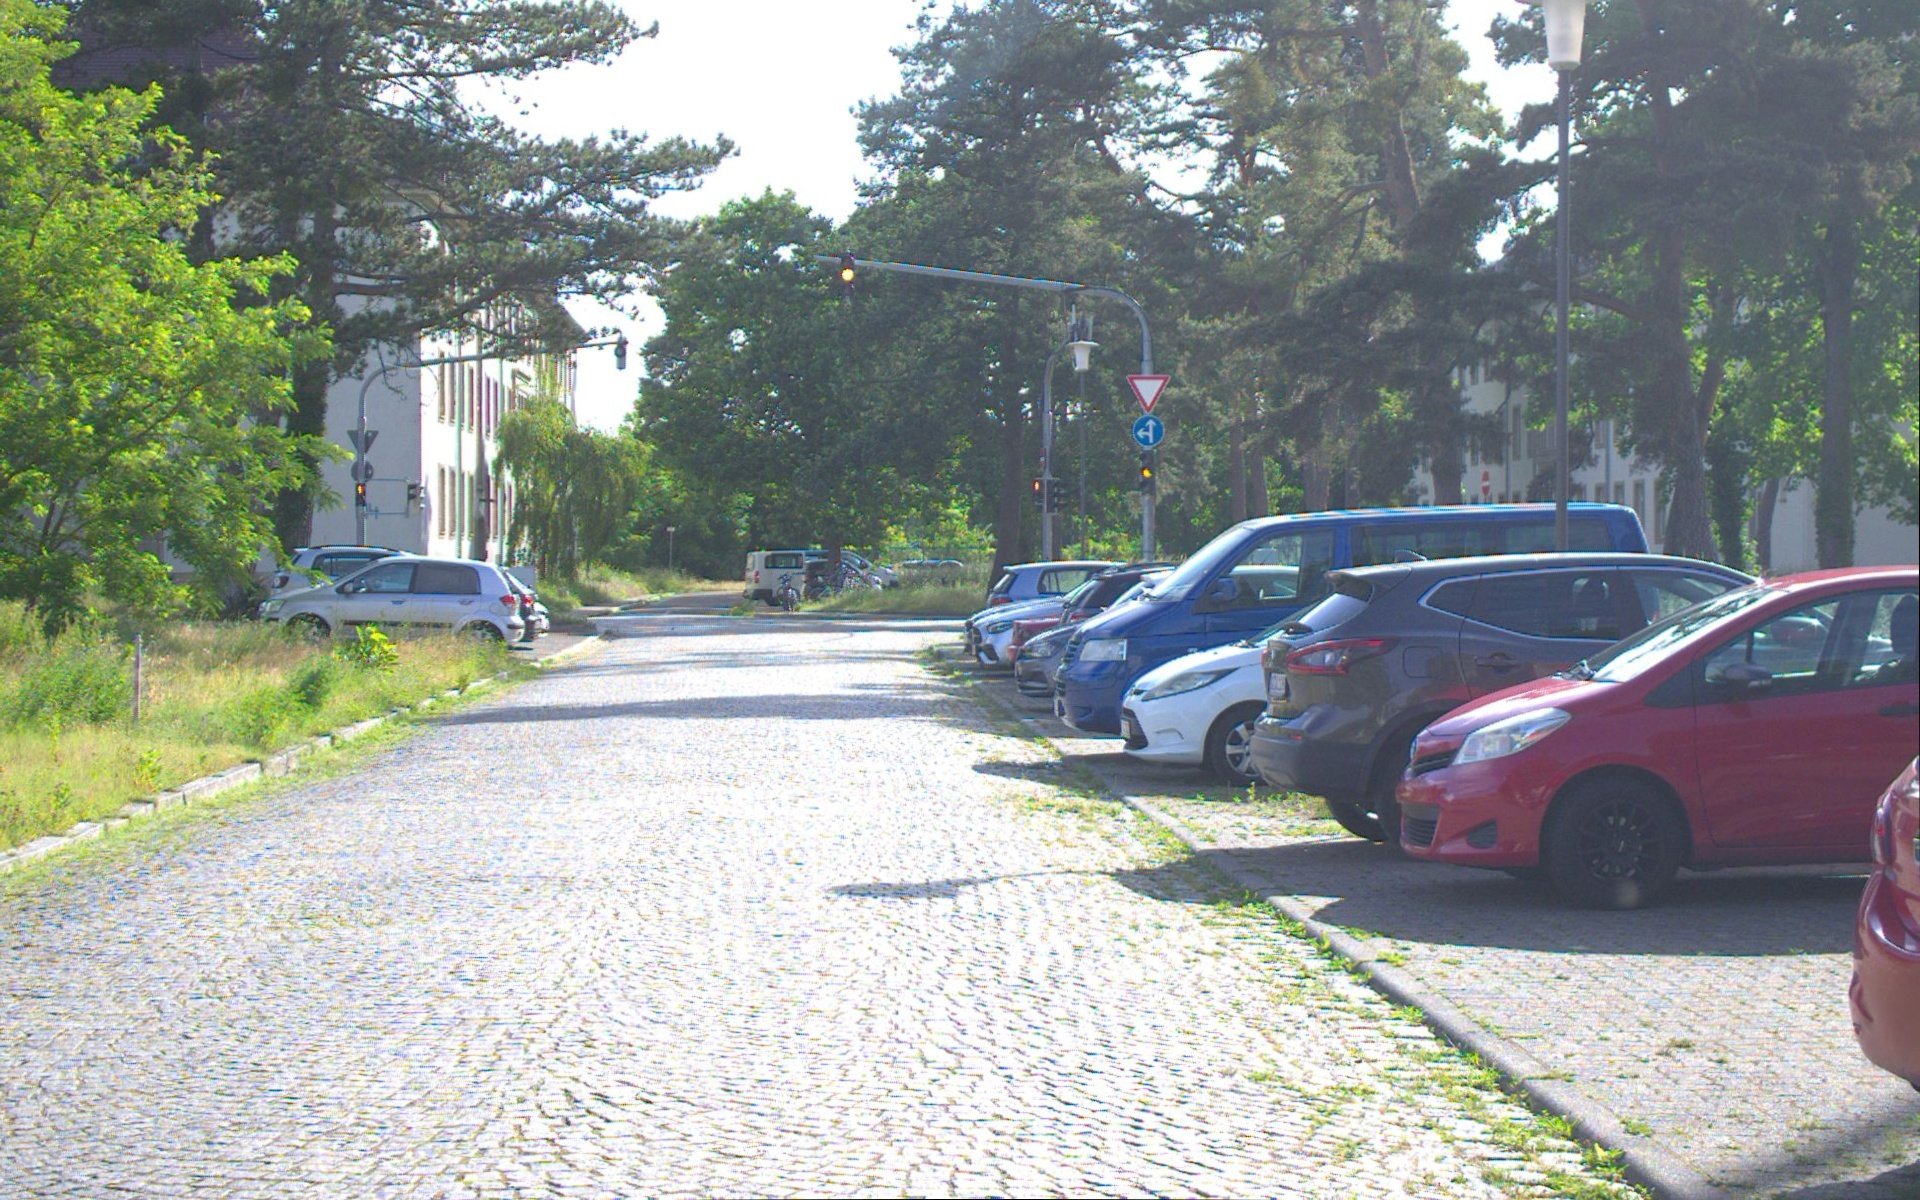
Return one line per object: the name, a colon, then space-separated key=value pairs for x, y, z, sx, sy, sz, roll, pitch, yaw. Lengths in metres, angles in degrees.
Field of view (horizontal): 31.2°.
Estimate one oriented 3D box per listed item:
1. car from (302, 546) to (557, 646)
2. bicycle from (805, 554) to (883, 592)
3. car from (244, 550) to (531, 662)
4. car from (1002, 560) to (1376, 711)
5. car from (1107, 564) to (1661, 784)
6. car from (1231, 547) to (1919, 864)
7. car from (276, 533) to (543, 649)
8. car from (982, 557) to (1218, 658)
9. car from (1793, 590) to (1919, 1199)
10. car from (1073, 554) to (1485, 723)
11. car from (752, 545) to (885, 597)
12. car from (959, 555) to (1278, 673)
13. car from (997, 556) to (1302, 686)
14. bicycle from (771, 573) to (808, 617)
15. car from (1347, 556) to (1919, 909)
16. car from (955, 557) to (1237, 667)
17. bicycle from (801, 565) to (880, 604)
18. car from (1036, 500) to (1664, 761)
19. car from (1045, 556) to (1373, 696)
car: x=-8.878 y=-0.084 z=57.803 sx=3.986 sy=1.448 sz=2.000 roll=3 pitch=1 yaw=-3
bicycle: x=-3.424 y=-0.793 z=101.141 sx=2.172 sy=1.096 sz=0.807 roll=1 pitch=1 yaw=-12
car: x=-8.283 y=0.069 z=50.030 sx=3.986 sy=1.595 sz=2.000 roll=0 pitch=1 yaw=-5
car: x=2.337 y=0.349 z=35.655 sx=3.674 sy=1.462 sz=1.646 roll=-1 pitch=1 yaw=-4
car: x=3.019 y=0.508 z=24.930 sx=3.718 sy=1.483 sz=1.646 roll=-1 pitch=1 yaw=-5
car: x=3.542 y=0.526 z=18.525 sx=3.935 sy=1.616 sz=1.772 roll=0 pitch=1 yaw=-4
car: x=-8.829 y=-0.151 z=55.401 sx=3.986 sy=1.596 sz=2.000 roll=3 pitch=1 yaw=-3
car: x=2.064 y=0.096 z=51.219 sx=3.343 sy=1.477 sz=1.646 roll=0 pitch=1 yaw=-4
car: x=4.140 y=0.703 z=8.272 sx=3.826 sy=1.473 sz=1.646 roll=-1 pitch=1 yaw=-3
car: x=2.996 y=0.343 z=32.791 sx=3.694 sy=1.461 sz=1.645 roll=-2 pitch=1 yaw=-2
car: x=-4.830 y=-1.002 z=117.464 sx=4.480 sy=1.722 sz=2.000 roll=1 pitch=1 yaw=-3
car: x=2.079 y=0.173 z=45.803 sx=4.033 sy=1.524 sz=1.646 roll=0 pitch=1 yaw=-6
car: x=2.247 y=0.237 z=41.267 sx=3.477 sy=1.524 sz=1.646 roll=0 pitch=1 yaw=-4
bicycle: x=-4.792 y=-0.141 z=96.436 sx=0.804 sy=1.165 sz=2.181 roll=-2 pitch=1 yaw=-9
car: x=3.795 y=0.567 z=15.855 sx=3.762 sy=1.525 sz=1.646 roll=0 pitch=1 yaw=-4
car: x=1.891 y=0.156 z=48.570 sx=3.835 sy=1.524 sz=1.646 roll=0 pitch=1 yaw=-4
bicycle: x=-3.469 y=-0.457 z=100.035 sx=2.172 sy=1.096 sz=0.807 roll=1 pitch=1 yaw=-12
car: x=3.055 y=0.217 z=27.609 sx=4.676 sy=2.007 sz=2.084 roll=0 pitch=1 yaw=-5
car: x=2.761 y=0.278 z=38.593 sx=3.477 sy=1.524 sz=1.646 roll=0 pitch=1 yaw=-4
